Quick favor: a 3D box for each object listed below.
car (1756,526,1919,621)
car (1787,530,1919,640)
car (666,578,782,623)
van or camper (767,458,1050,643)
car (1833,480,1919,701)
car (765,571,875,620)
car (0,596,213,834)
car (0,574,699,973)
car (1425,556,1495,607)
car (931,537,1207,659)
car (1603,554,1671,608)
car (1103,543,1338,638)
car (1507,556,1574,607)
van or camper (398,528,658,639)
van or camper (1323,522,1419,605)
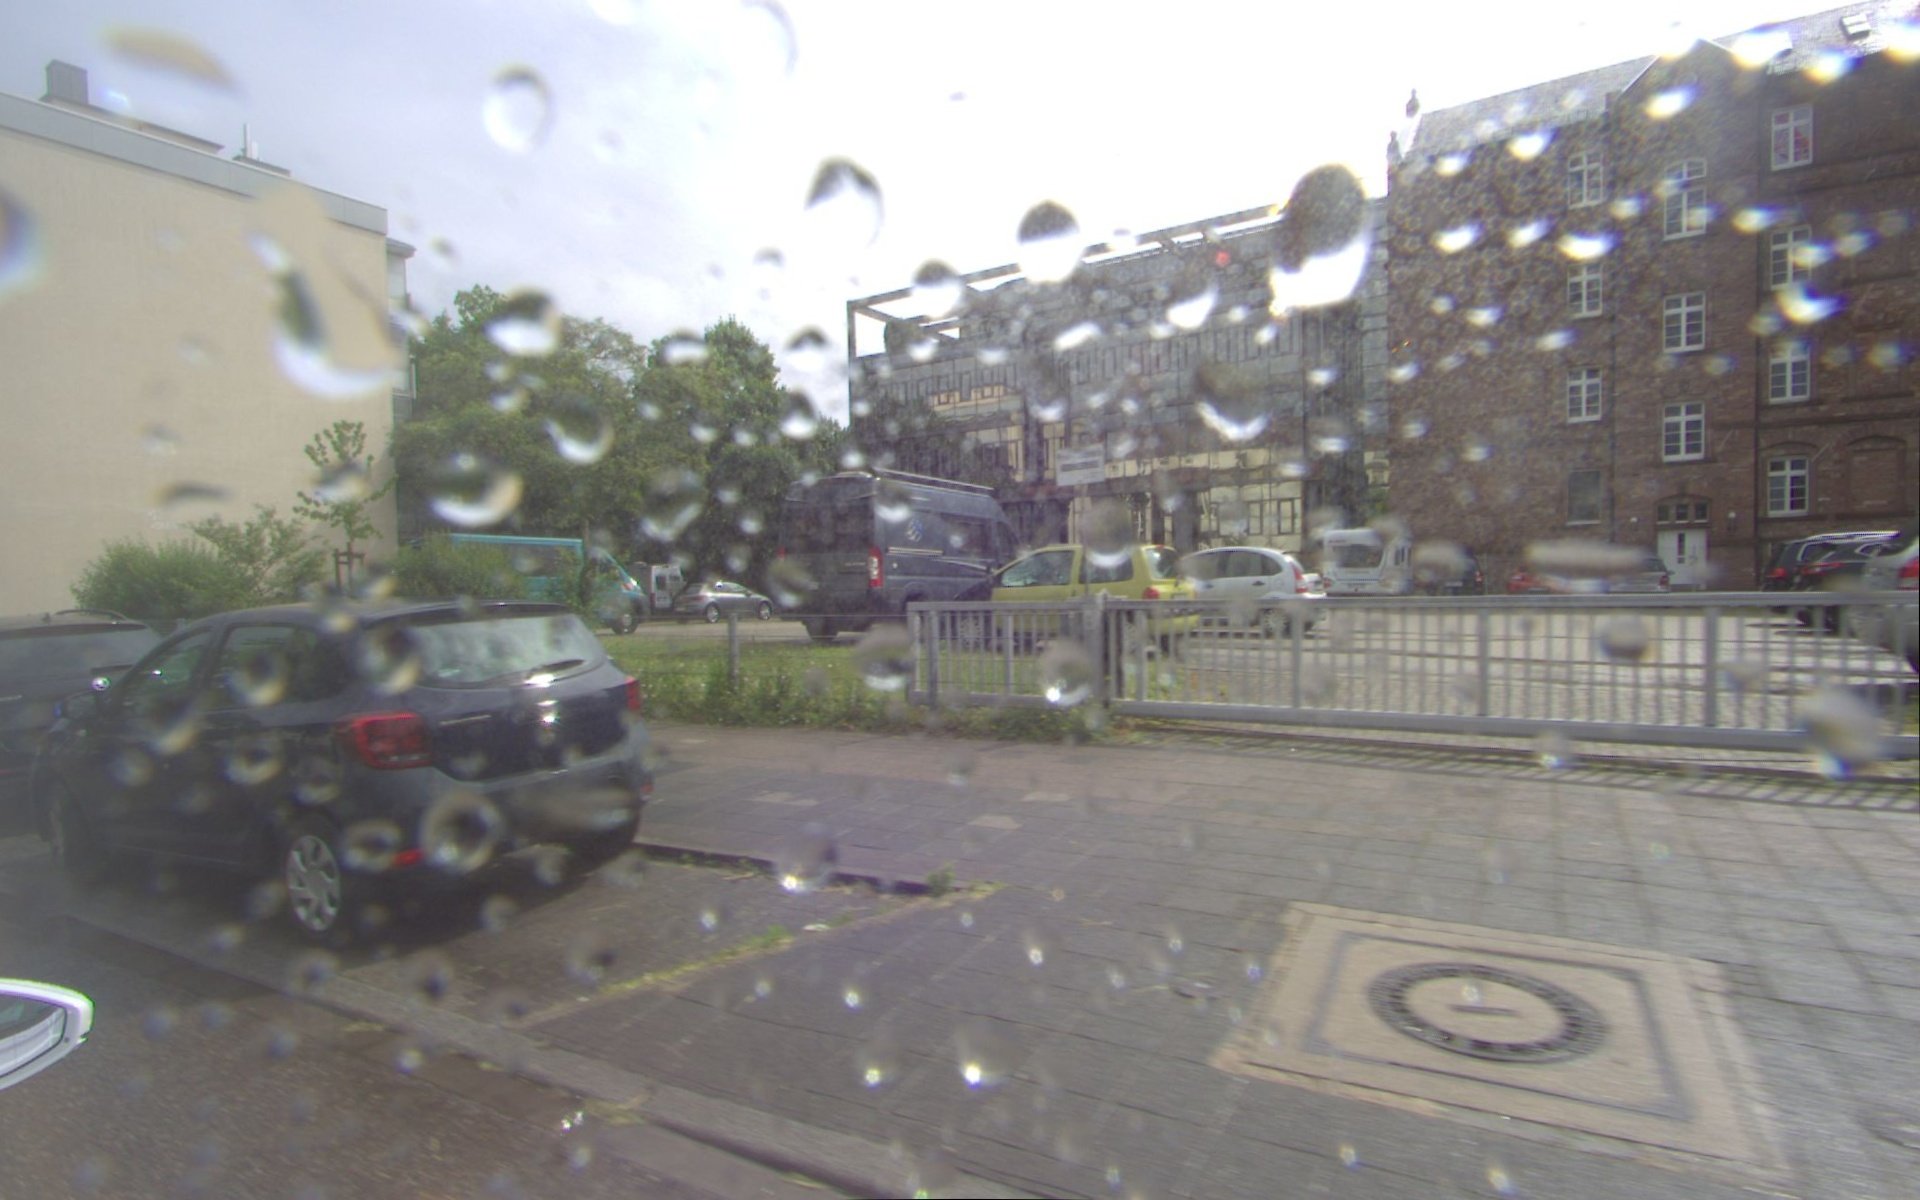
[{"bbox_3d":[17.673,-0.508,18.620,4.363,1.702,1.847,-1,2,35],"label":"car"},{"bbox_3d":[15.927,-0.267,15.810,4.368,1.702,1.845,0,2,39],"label":"car"},{"bbox_3d":[-8.624,-0.007,36.873,1.617,1.507,4.086,0,2,35],"label":"car"},{"bbox_3d":[-0.657,-0.714,16.778,2.145,2.588,4.985,-1,0,34],"label":"van or camper"},{"bbox_3d":[9.664,-0.122,7.745,4.180,1.774,1.798,-1,2,35],"label":"car"},{"bbox_3d":[-4.687,-0.180,33.958,1.617,1.507,3.653,0,2,35],"label":"car"},{"bbox_3d":[-8.001,0.822,8.091,4.098,1.529,1.601,-1,3,30],"label":"car"},{"bbox_3d":[-3.604,0.710,5.700,3.940,1.548,1.753,-1,2,30],"label":"car"},{"bbox_3d":[16.785,-0.635,33.527,1.649,1.598,3.655,0,2,34],"label":"car"},{"bbox_3d":[1.443,-0.034,13.603,3.371,1.468,1.605,-1,2,36],"label":"car"},{"bbox_3d":[20.900,-0.606,30.959,1.649,1.545,3.655,0,2,34],"label":"car"},{"bbox_3d":[4.541,-0.164,17.613,3.669,1.506,1.643,-1,2,36],"label":"car"},{"bbox_3d":[18.620,-0.552,32.055,1.649,1.506,3.657,0,0,34],"label":"car"},{"bbox_3d":[-9.372,-0.368,22.085,2.291,2.160,4.742,0,1,36],"label":"van or camper"},{"bbox_3d":[14.041,-1.123,34.049,2.226,2.518,4.777,-1,-1,32],"label":"van or camper"}]
